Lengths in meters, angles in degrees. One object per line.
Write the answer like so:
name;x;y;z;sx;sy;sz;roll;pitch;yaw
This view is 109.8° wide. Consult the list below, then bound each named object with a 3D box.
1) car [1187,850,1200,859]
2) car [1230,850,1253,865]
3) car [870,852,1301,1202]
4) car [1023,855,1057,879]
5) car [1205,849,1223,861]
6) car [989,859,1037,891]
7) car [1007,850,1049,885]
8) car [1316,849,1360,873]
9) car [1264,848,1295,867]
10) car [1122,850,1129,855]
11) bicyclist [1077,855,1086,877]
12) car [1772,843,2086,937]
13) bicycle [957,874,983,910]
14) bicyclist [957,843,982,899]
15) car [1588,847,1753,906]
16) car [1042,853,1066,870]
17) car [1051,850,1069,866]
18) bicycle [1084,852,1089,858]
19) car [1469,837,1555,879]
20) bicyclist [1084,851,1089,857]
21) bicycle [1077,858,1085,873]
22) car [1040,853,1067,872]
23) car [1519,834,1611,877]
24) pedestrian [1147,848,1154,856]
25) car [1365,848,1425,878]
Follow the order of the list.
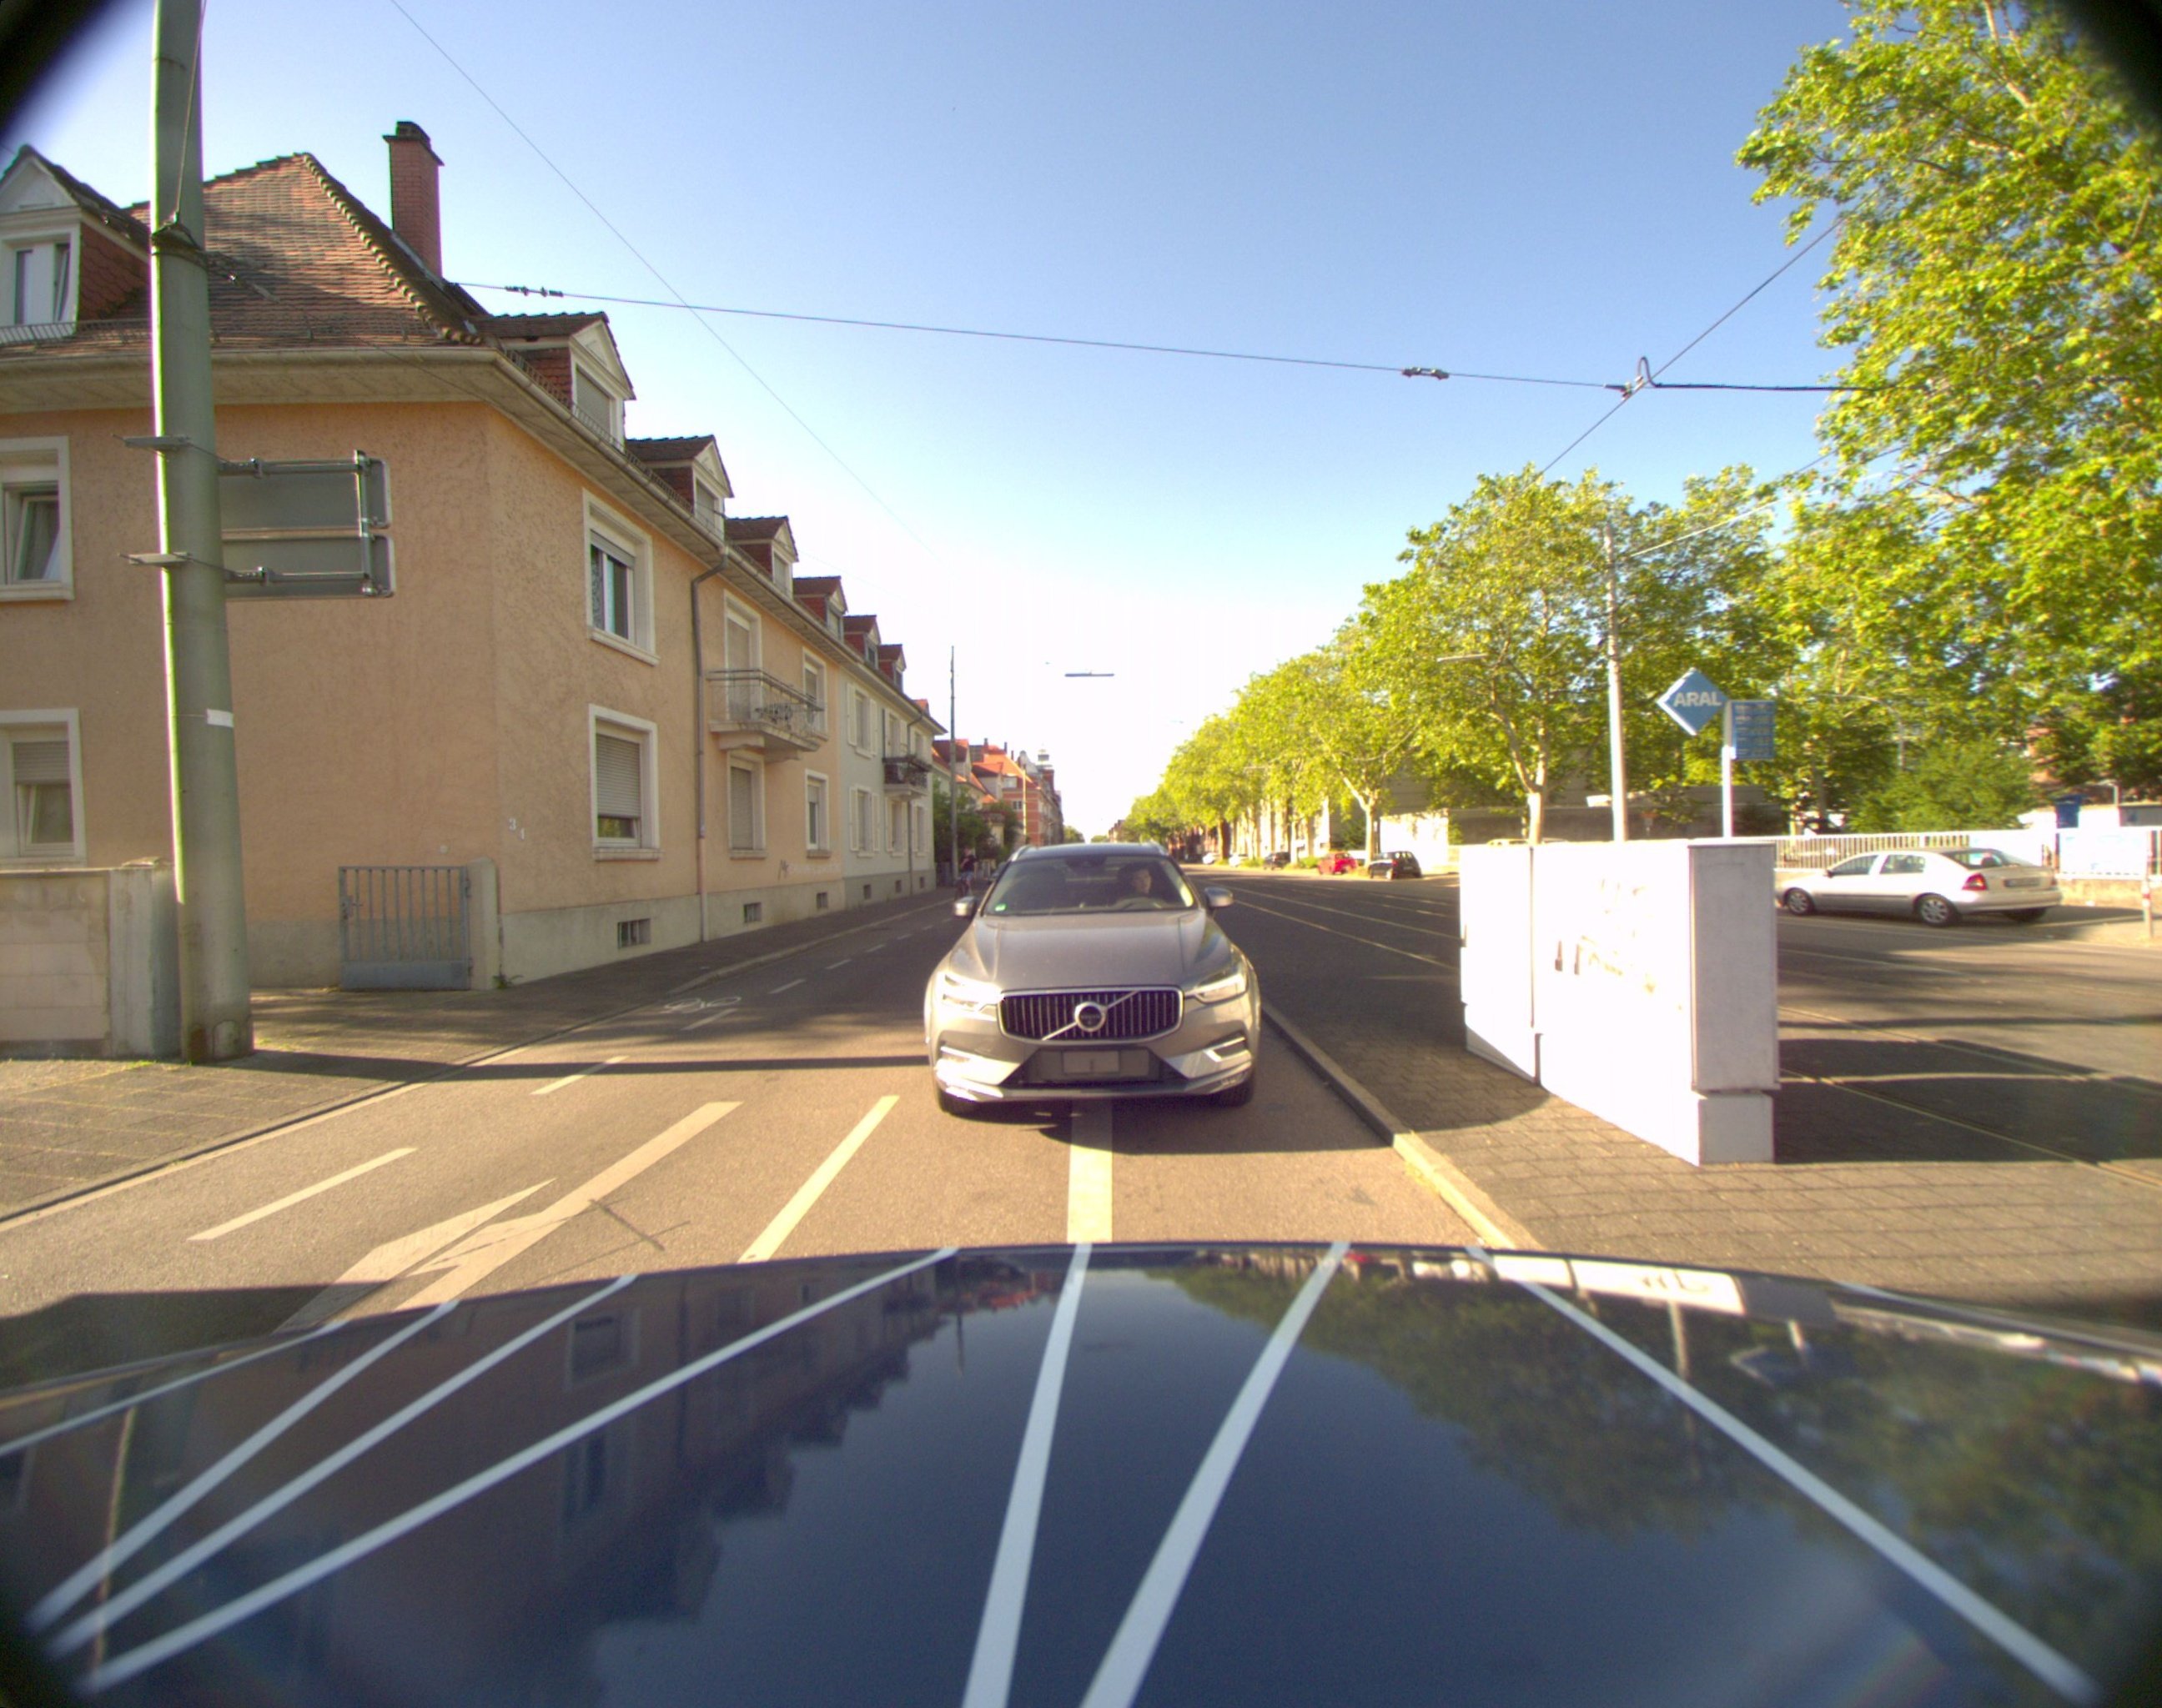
car;18.502;0.064;125.294;1.758;1.475;3.858;-3;0;3
car;17.575;0.360;83.344;1.758;1.475;3.858;-3;0;3
car;0.055;0.815;5.931;1.998;1.609;4.697;-1;0;1
car;-2.581;0.815;48.498;1.867;1.399;4.078;-1;0;1
car;17.667;0.169;100.938;1.758;1.475;3.858;-3;0;3
car;-3.238;0.964;37.076;1.867;1.399;4.424;-1;0;1
car;-2.916;0.702;42.830;1.867;1.778;5.297;-1;0;1
car;16.901;0.454;50.185;1.717;1.421;3.858;-3;0;3
car;17.170;0.297;65.916;1.758;1.536;3.858;-3;0;3
car;14.022;-0.483;238.278;1.998;1.685;4.000;-1;0;1
bicyclist;0.025;0.871;55.231;0.562;1.607;1.016;-2;1;0
car;16.237;0.610;14.908;1.847;1.477;3.858;-4;0;2
bicycle;-3.501;1.185;24.109;0.533;1.011;1.758;-1;0;1
bicyclist;-3.530;0.536;24.113;0.561;1.721;1.084;-2;1;1
car;16.477;0.571;21.515;1.745;1.389;3.858;-4;0;3
car;-2.357;0.622;66.361;1.867;1.399;4.078;-1;0;1
car;-2.328;0.434;85.450;1.867;1.653;4.078;-1;0;1
bicycle;1.390;0.254;182.756;1.054;1.262;3.914;-1;0;1
car;21.809;0.172;38.642;1.999;2.002;3.999;-1;0;-1
bicyclist;1.369;-0.018;182.729;1.054;1.496;1.250;-1;1;1
bicycle;0.004;0.832;55.034;0.550;1.056;1.794;-1;1;-1
car;-2.135;0.668;60.057;1.867;1.399;4.078;-1;0;1
car;24.157;0.083;38.101;1.999;2.002;3.999;-1;0;-1
pedestrian;19.587;-0.536;213.237;1.686;2.002;1.761;-1;1;1
car;16.889;0.461;41.043;1.758;1.449;3.858;-3;0;3
